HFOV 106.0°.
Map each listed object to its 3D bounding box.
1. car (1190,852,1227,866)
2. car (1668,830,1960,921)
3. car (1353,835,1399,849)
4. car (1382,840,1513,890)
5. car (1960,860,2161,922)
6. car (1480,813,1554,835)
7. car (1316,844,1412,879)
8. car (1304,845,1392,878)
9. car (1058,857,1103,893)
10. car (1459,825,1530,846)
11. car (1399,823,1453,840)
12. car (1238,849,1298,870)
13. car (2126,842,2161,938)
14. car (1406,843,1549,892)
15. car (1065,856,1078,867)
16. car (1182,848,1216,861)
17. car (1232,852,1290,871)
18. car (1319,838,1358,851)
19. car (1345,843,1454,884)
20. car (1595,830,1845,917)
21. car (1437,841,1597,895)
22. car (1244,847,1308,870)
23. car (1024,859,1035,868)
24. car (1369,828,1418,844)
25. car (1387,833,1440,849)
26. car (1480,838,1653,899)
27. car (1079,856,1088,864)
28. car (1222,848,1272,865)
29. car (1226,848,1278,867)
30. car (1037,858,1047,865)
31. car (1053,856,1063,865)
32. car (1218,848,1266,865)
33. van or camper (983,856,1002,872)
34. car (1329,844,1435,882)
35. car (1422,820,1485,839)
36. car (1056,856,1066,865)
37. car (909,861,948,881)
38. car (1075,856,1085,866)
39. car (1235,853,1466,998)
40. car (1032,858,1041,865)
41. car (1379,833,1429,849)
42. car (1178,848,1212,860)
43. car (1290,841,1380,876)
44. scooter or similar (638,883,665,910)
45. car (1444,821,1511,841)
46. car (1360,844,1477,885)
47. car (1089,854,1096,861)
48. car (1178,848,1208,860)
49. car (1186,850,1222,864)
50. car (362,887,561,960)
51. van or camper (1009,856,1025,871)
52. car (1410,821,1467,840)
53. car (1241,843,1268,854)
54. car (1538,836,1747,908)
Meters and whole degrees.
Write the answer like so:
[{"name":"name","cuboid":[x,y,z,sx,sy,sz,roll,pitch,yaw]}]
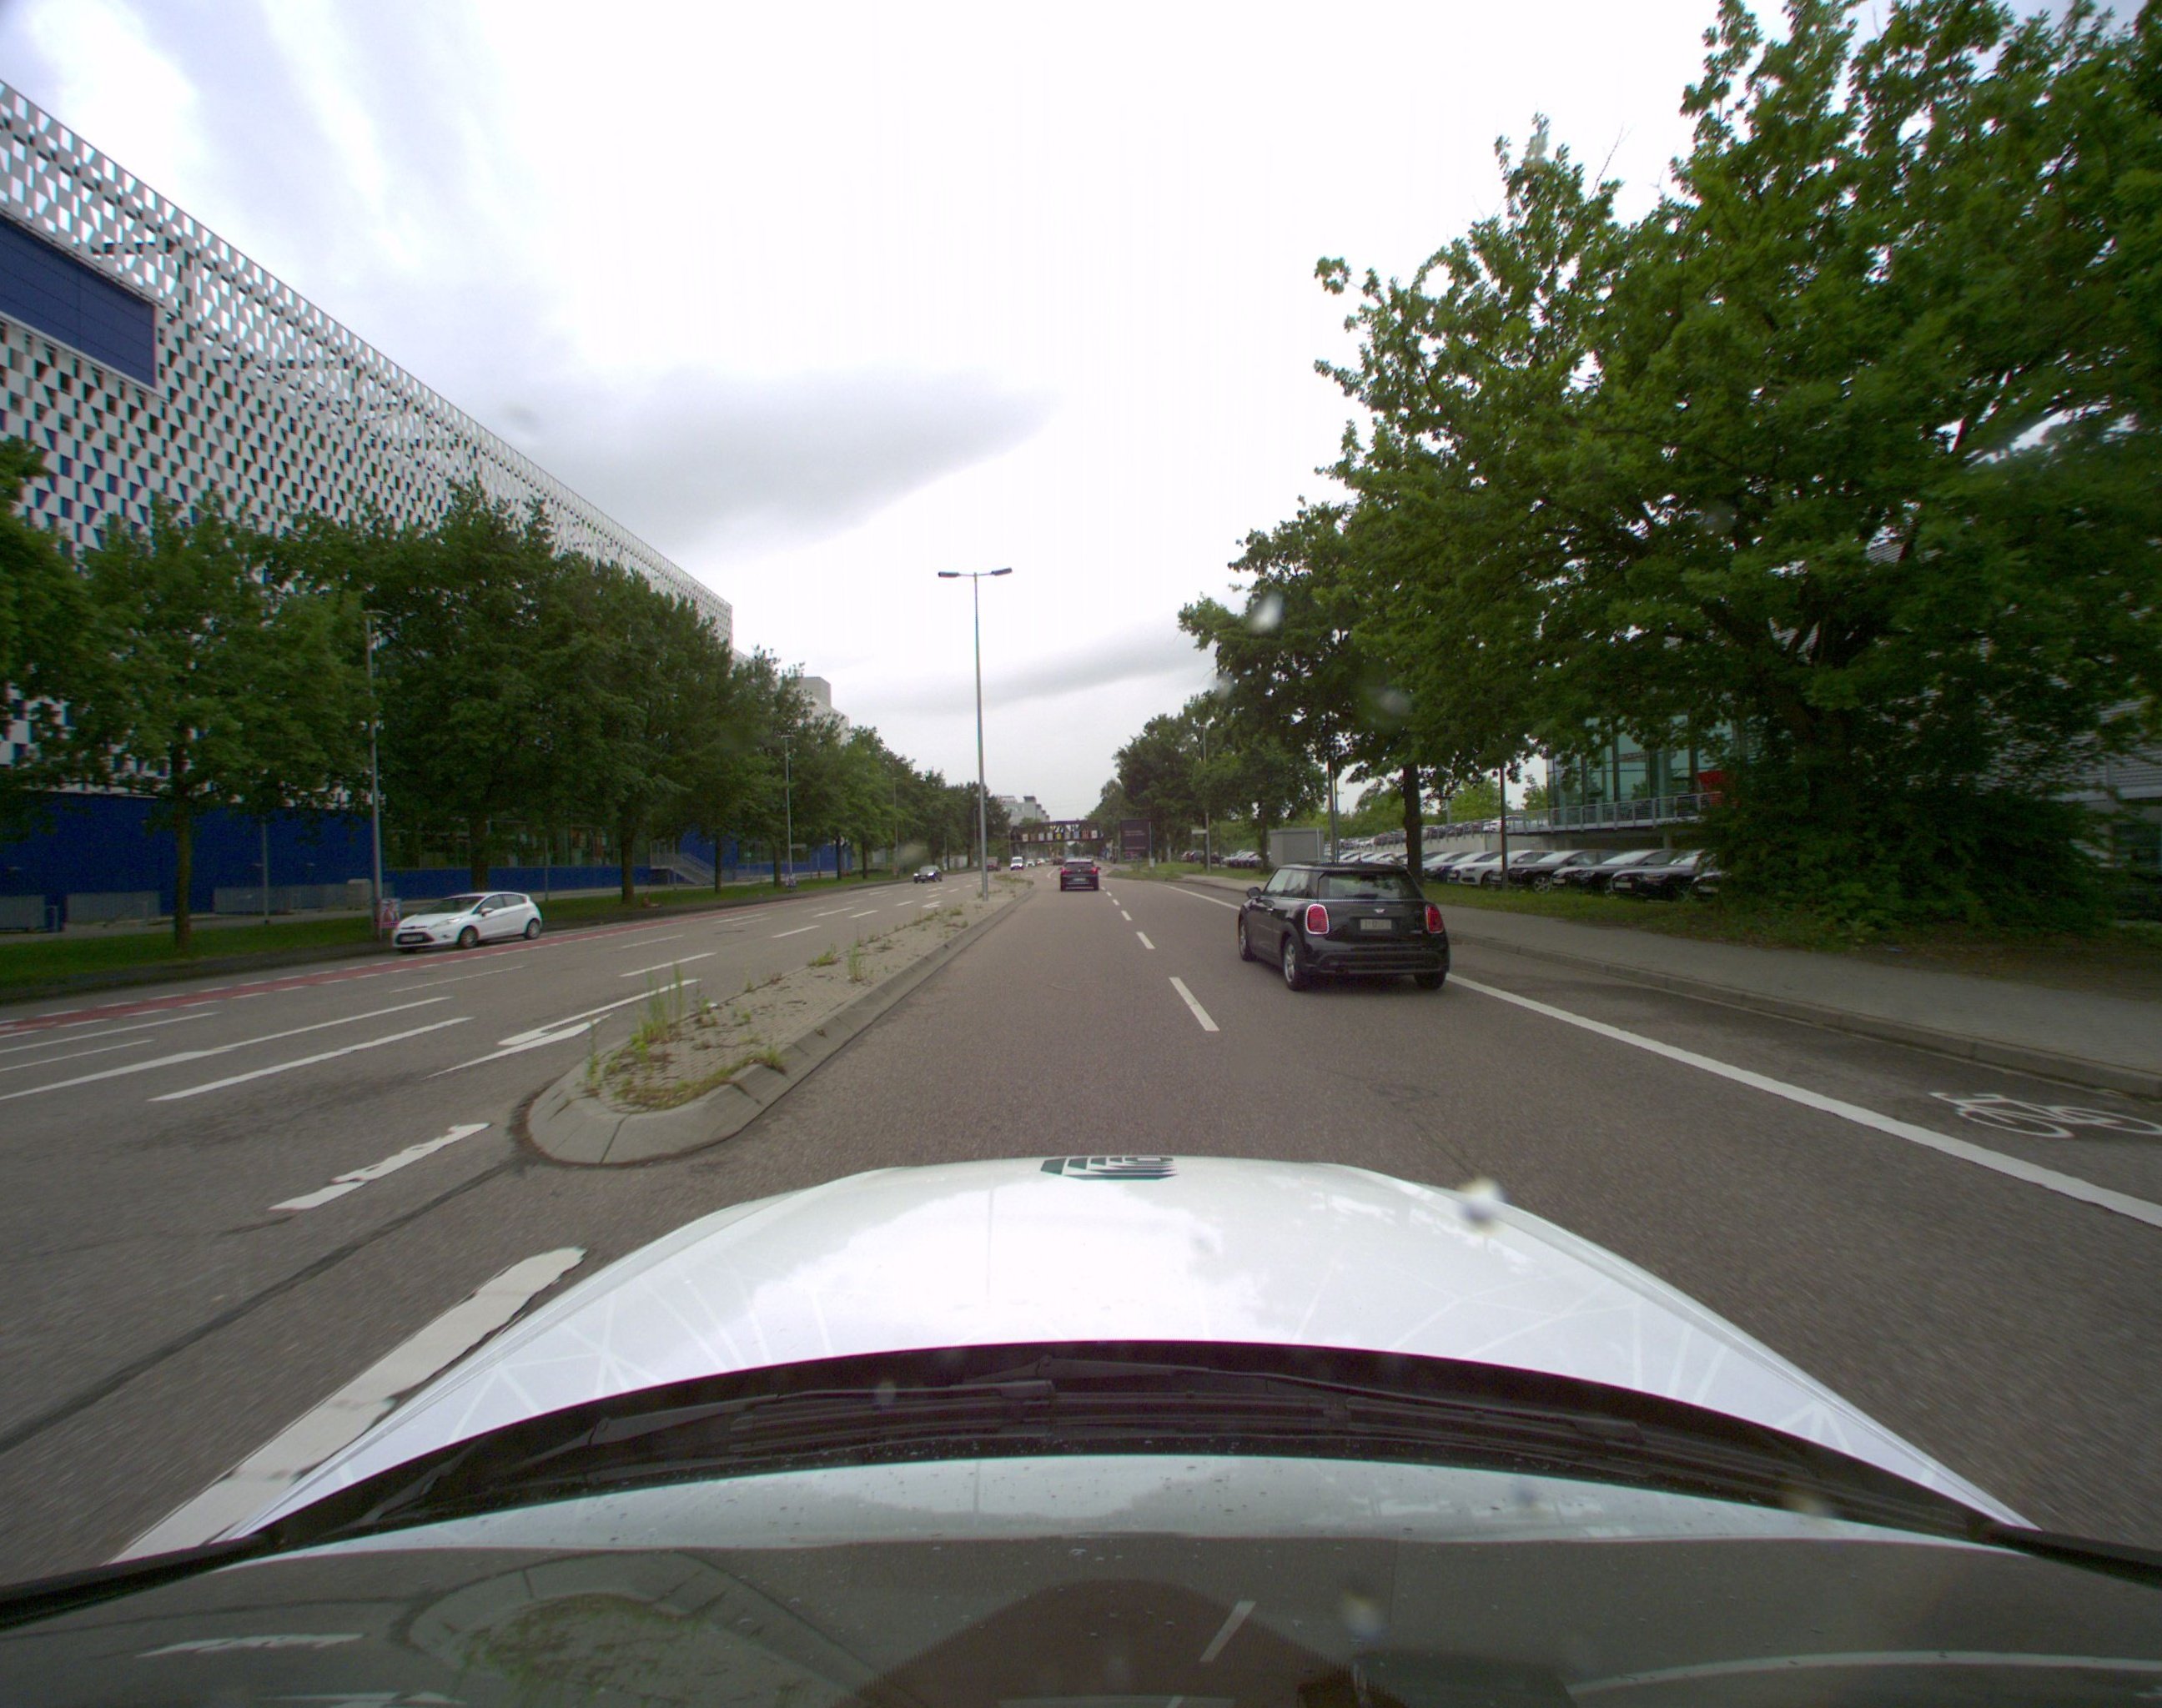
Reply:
[{"name":"car","cuboid":[14.136,0.524,90.435,3.966,1.435,1.734,-1,2,6]},{"name":"car","cuboid":[14.498,0.380,16.280,4.111,1.393,1.871,4,2,-1]},{"name":"car","cuboid":[30.630,-1.264,84.575,4.187,1.435,1.729,-1,2,-2]},{"name":"car","cuboid":[14.284,0.397,31.923,4.161,1.662,2.001,3,2,1]},{"name":"car","cuboid":[24.815,0.894,20.463,3.745,1.364,1.650,-1,2,-1]},{"name":"car","cuboid":[31.252,-2.154,58.408,4.323,1.496,1.881,-1,2,-2]},{"name":"car","cuboid":[14.718,0.370,42.493,4.279,1.504,2.030,4,0,1]},{"name":"car","cuboid":[14.660,0.384,44.904,4.161,1.445,1.961,4,2,1]},{"name":"car","cuboid":[0.032,0.905,37.104,1.749,1.434,4.004,-2,1,3]},{"name":"car","cuboid":[31.130,-1.372,61.346,4.323,1.496,2.068,-1,2,-2]},{"name":"car","cuboid":[30.342,-2.011,71.750,4.074,1.435,1.729,-1,2,-2]},{"name":"car","cuboid":[14.844,0.435,64.841,4.330,1.503,1.929,1,0,-1]},{"name":"car","cuboid":[17.350,0.648,11.571,1.746,1.498,4.304,1,3,33]},{"name":"car","cuboid":[14.246,0.456,29.455,4.168,1.485,1.977,3,2,0]},{"name":"car","cuboid":[-1.788,1.337,147.736,2.127,1.661,3.785,-1,2,2]},{"name":"car","cuboid":[13.979,0.086,96.433,3.966,1.435,1.734,-1,2,6]},{"name":"car","cuboid":[14.819,0.604,67.207,4.330,1.488,1.843,-1,0,-1]},{"name":"car","cuboid":[30.583,-1.112,96.779,4.074,1.435,1.729,-1,2,-2]},{"name":"car","cuboid":[14.515,0.412,37.307,4.161,1.469,2.001,4,2,1]},{"name":"car","cuboid":[14.579,0.404,18.767,4.224,1.602,1.876,4,2,-1]},{"name":"car","cuboid":[14.306,0.424,26.898,4.183,1.485,1.959,3,2,-1]},{"name":"car","cuboid":[14.878,0.330,62.330,4.432,1.571,1.999,-3,0,-1]},{"name":"car","cuboid":[-10.077,1.859,160.207,1.747,1.446,3.342,-1,2,2]},{"name":"car","cuboid":[30.452,-1.755,79.388,4.074,1.435,1.729,-1,2,-2]},{"name":"car","cuboid":[30.310,-1.189,74.412,4.074,1.435,1.946,-1,2,-2]},{"name":"car","cuboid":[14.386,0.399,24.293,4.051,1.485,1.818,3,2,-1]},{"name":"car","cuboid":[0.552,1.458,188.116,1.877,1.661,3.785,-1,2,3]},{"name":"car","cuboid":[14.699,0.207,72.232,4.074,1.435,1.845,-1,2,-2]},{"name":"car","cuboid":[14.601,0.291,69.825,4.074,1.435,1.821,-1,2,-2]},{"name":"car","cuboid":[-9.431,1.795,197.188,1.932,1.675,3.785,-1,2,2]},{"name":"car","cuboid":[-4.738,1.274,167.765,1.877,1.661,3.785,-1,2,3]},{"name":"car","cuboid":[14.687,0.220,74.550,4.074,1.435,1.729,-1,2,-2]},{"name":"van or camper","cuboid":[-11.939,1.347,110.151,1.869,1.986,4.889,-3,1,0]},{"name":"car","cuboid":[14.692,0.415,39.918,4.378,1.520,2.001,4,2,0]},{"name":"car","cuboid":[30.395,-2.020,66.476,4.323,1.496,1.881,-1,2,-2]},{"name":"car","cuboid":[-4.243,1.376,174.346,1.942,1.815,4.003,-1,2,2]},{"name":"car","cuboid":[-12.817,1.417,68.667,1.908,1.502,4.259,-4,-1,7]},{"name":"car","cuboid":[-0.222,1.524,177.578,1.942,1.815,4.003,-1,2,2]},{"name":"car","cuboid":[3.095,0.771,10.136,1.778,1.416,3.645,-2,-1,3]},{"name":"car","cuboid":[-9.679,1.600,176.686,1.712,1.371,3.443,-1,2,3]},{"name":"car","cuboid":[30.405,-1.264,76.726,4.074,1.435,1.729,-1,2,-2]},{"name":"car","cuboid":[13.810,-0.021,98.787,3.966,1.435,1.734,-1,2,6]},{"name":"car","cuboid":[14.757,0.234,47.506,4.534,1.702,2.001,4,2,1]},{"name":"scooter or similar","cuboid":[-21.154,2.086,40.142,0.653,1.196,1.377,-1,0,-2]},{"name":"car","cuboid":[31.055,-1.782,63.852,4.323,1.496,1.969,-1,2,-2]},{"name":"car","cuboid":[14.321,0.416,34.743,4.161,1.456,1.934,3,2,1]},{"name":"car","cuboid":[3.424,1.019,249.558,1.942,1.815,4.003,-1,2,2]},{"name":"car","cuboid":[14.906,-0.023,108.421,3.966,1.435,1.734,-1,2,6]},{"name":"car","cuboid":[14.091,0.337,93.432,3.966,1.435,1.734,-1,2,6]},{"name":"car","cuboid":[-16.749,1.804,22.346,1.849,1.462,4.337,-4,1,4]},{"name":"van or camper","cuboid":[-8.668,1.243,110.558,1.749,1.747,4.407,-5,0,0]},{"name":"car","cuboid":[30.314,-1.974,69.111,4.074,1.496,1.729,-1,2,-2]},{"name":"car","cuboid":[26.400,-0.842,124.020,3.966,1.435,1.734,-1,2,6]},{"name":"car","cuboid":[14.685,0.446,21.459,4.195,1.485,1.825,4,2,-1]}]
